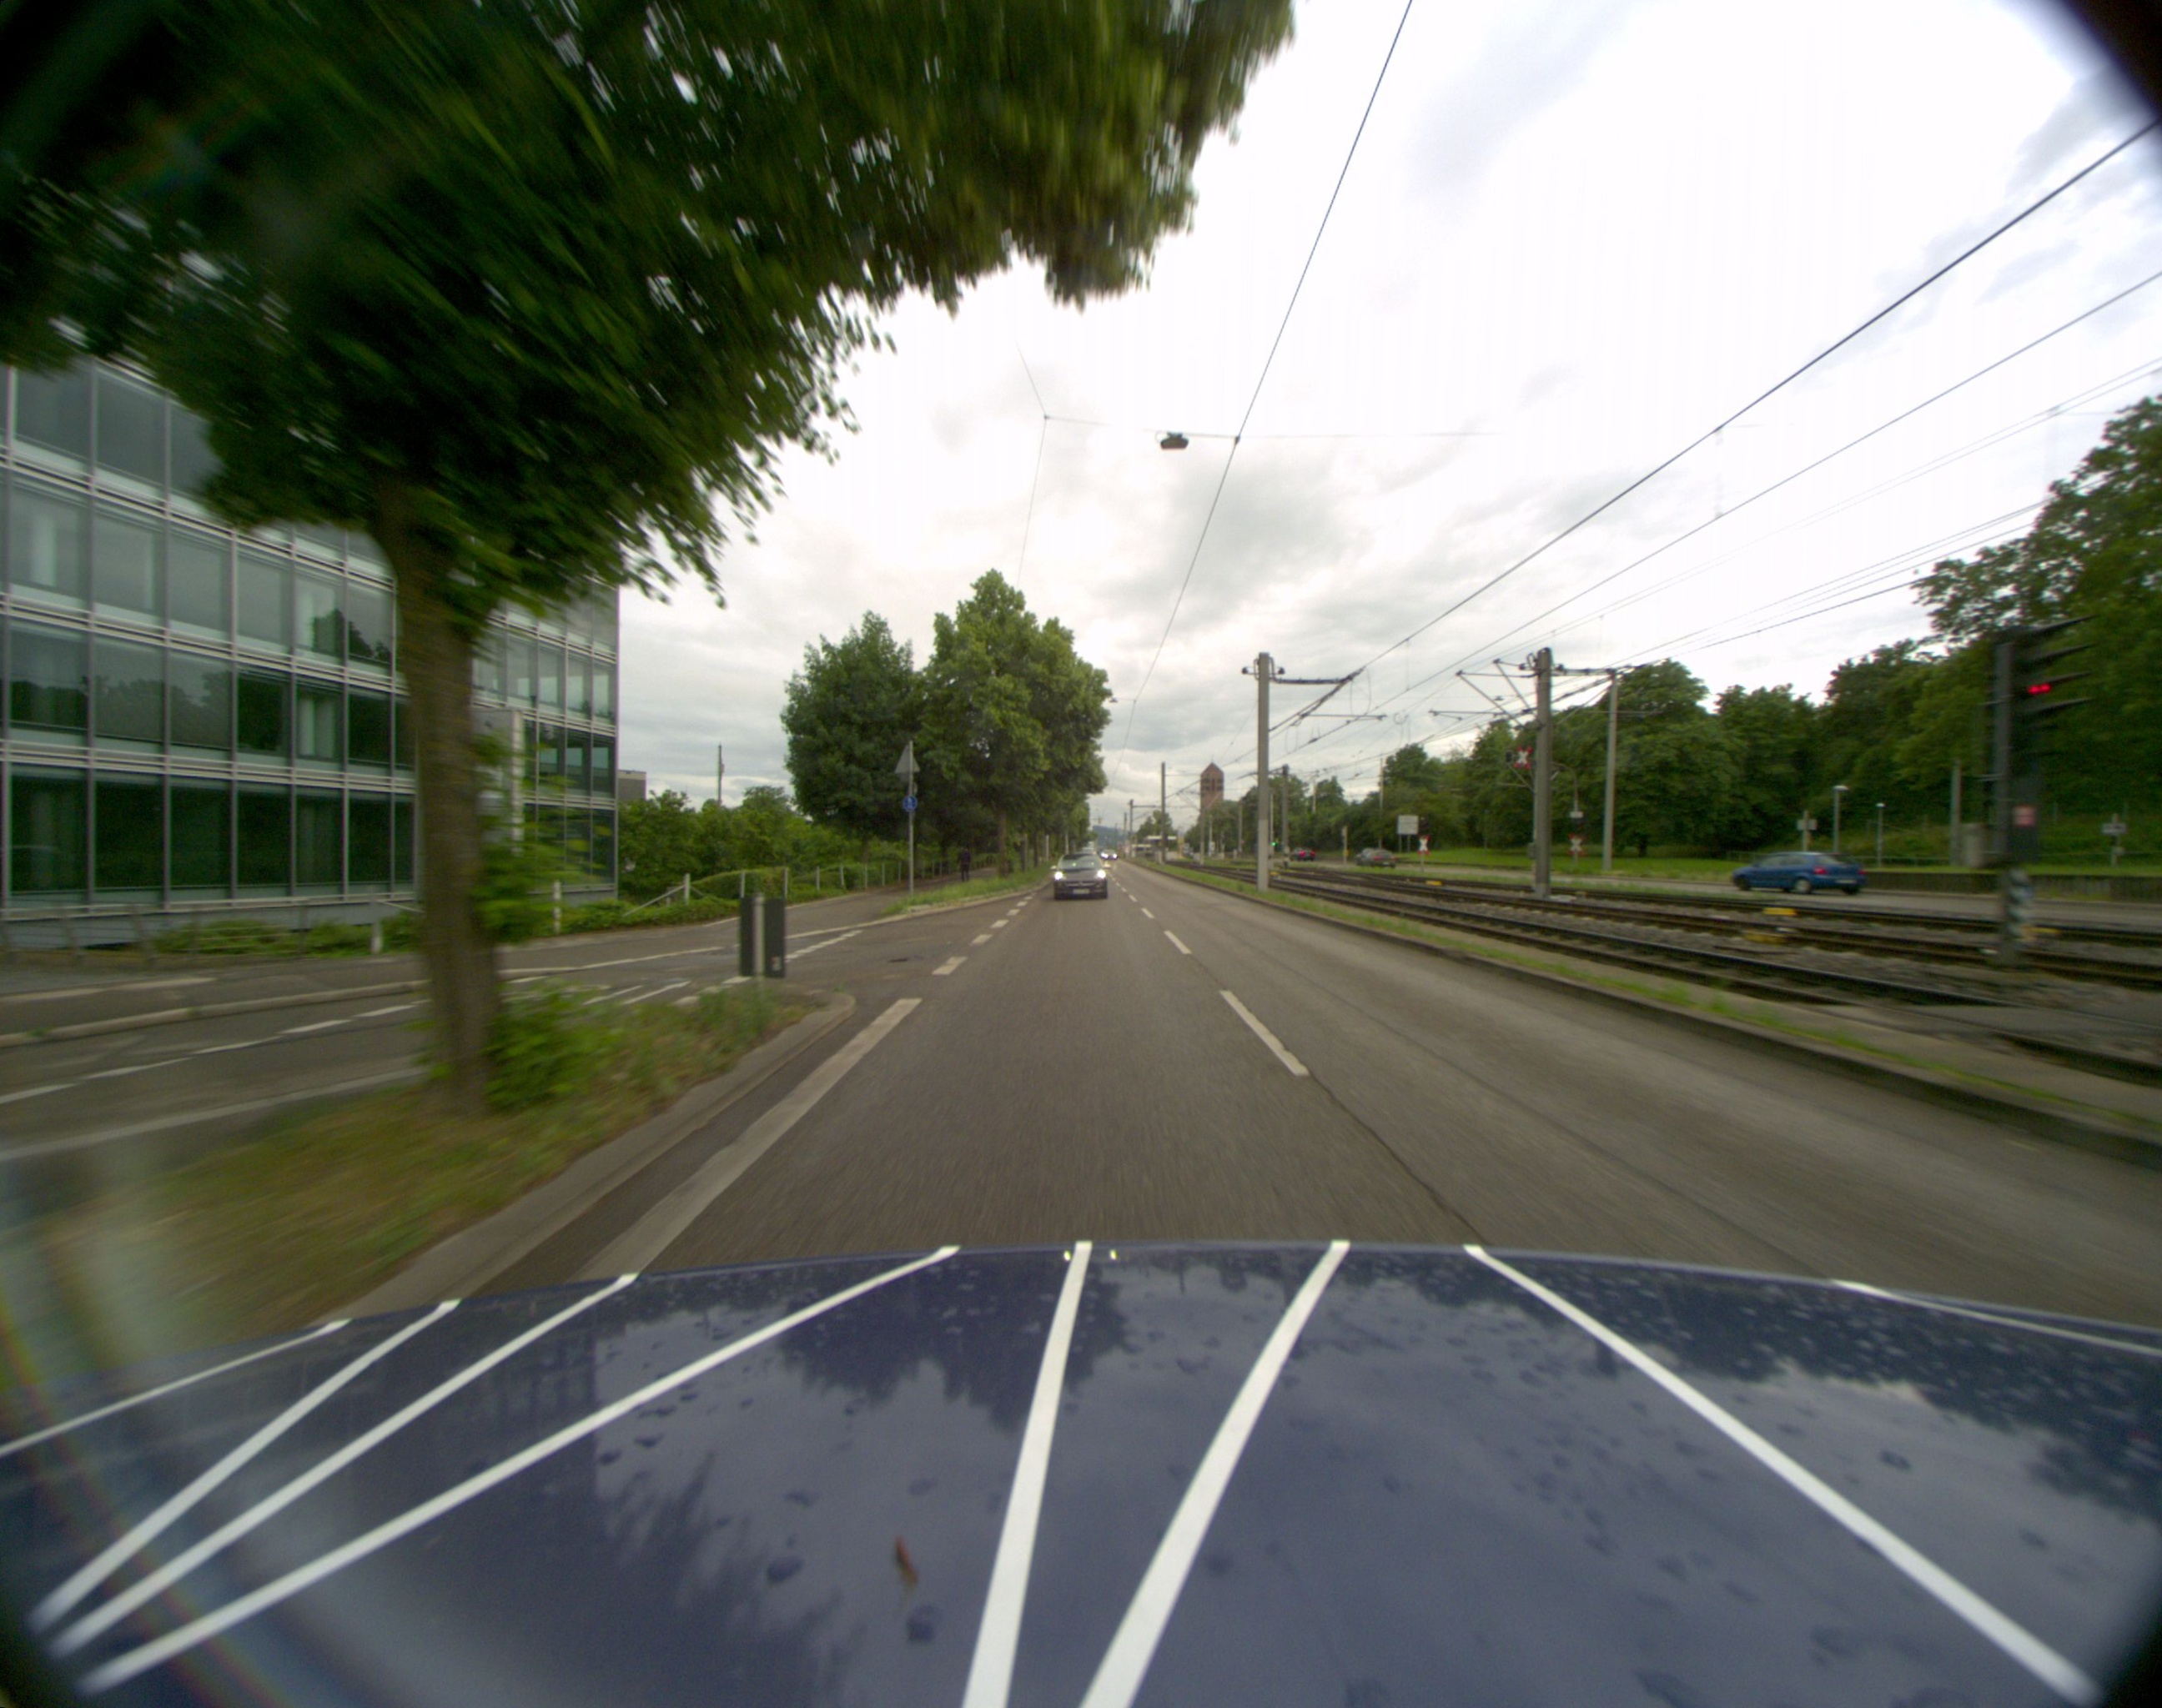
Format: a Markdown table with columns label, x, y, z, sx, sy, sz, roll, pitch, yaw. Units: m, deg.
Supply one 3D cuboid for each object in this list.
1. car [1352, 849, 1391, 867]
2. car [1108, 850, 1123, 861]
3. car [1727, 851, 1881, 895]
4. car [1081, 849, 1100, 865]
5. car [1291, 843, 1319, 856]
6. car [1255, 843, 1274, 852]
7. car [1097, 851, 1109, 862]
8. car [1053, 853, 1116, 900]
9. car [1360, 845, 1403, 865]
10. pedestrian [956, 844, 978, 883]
| label | x | y | z | sx | sy | sz | roll | pitch | yaw |
| --- | --- | --- | --- | --- | --- | --- | --- | --- | --- |
| car | 26.827 | 0.354 | 70.277 | 1.952 | 1.586 | 4.848 | 0 | 1 | 3 |
| car | 4.610 | 0.172 | 101.376 | 1.899 | 1.432 | 4.246 | -1 | 0 | 1 |
| car | 24.953 | 0.601 | 26.423 | 1.765 | 1.389 | 3.901 | 0 | 1 | 4 |
| car | 0.994 | 0.311 | 82.060 | 1.998 | 1.608 | 4.000 | 0 | 1 | 1 |
| car | 27.734 | -0.537 | 94.217 | 2.094 | 1.580 | 5.159 | 0 | 1 | 3 |
| car | 27.817 | -0.972 | 115.369 | 1.931 | 1.438 | 4.682 | 0 | 1 | 1 |
| car | 3.513 | 0.390 | 119.787 | 1.812 | 1.566 | 3.971 | -1 | 1 | 1 |
| car | 0.143 | 0.694 | 25.476 | 1.899 | 1.432 | 4.473 | -1 | 0 | 1 |
| car | 23.635 | 0.045 | 59.947 | 1.895 | 1.478 | 4.309 | 0 | 1 | 4 |
| pedestrian | -5.251 | 0.435 | 35.124 | 0.828 | 1.787 | 0.867 | -1 | 1 | 1 |
